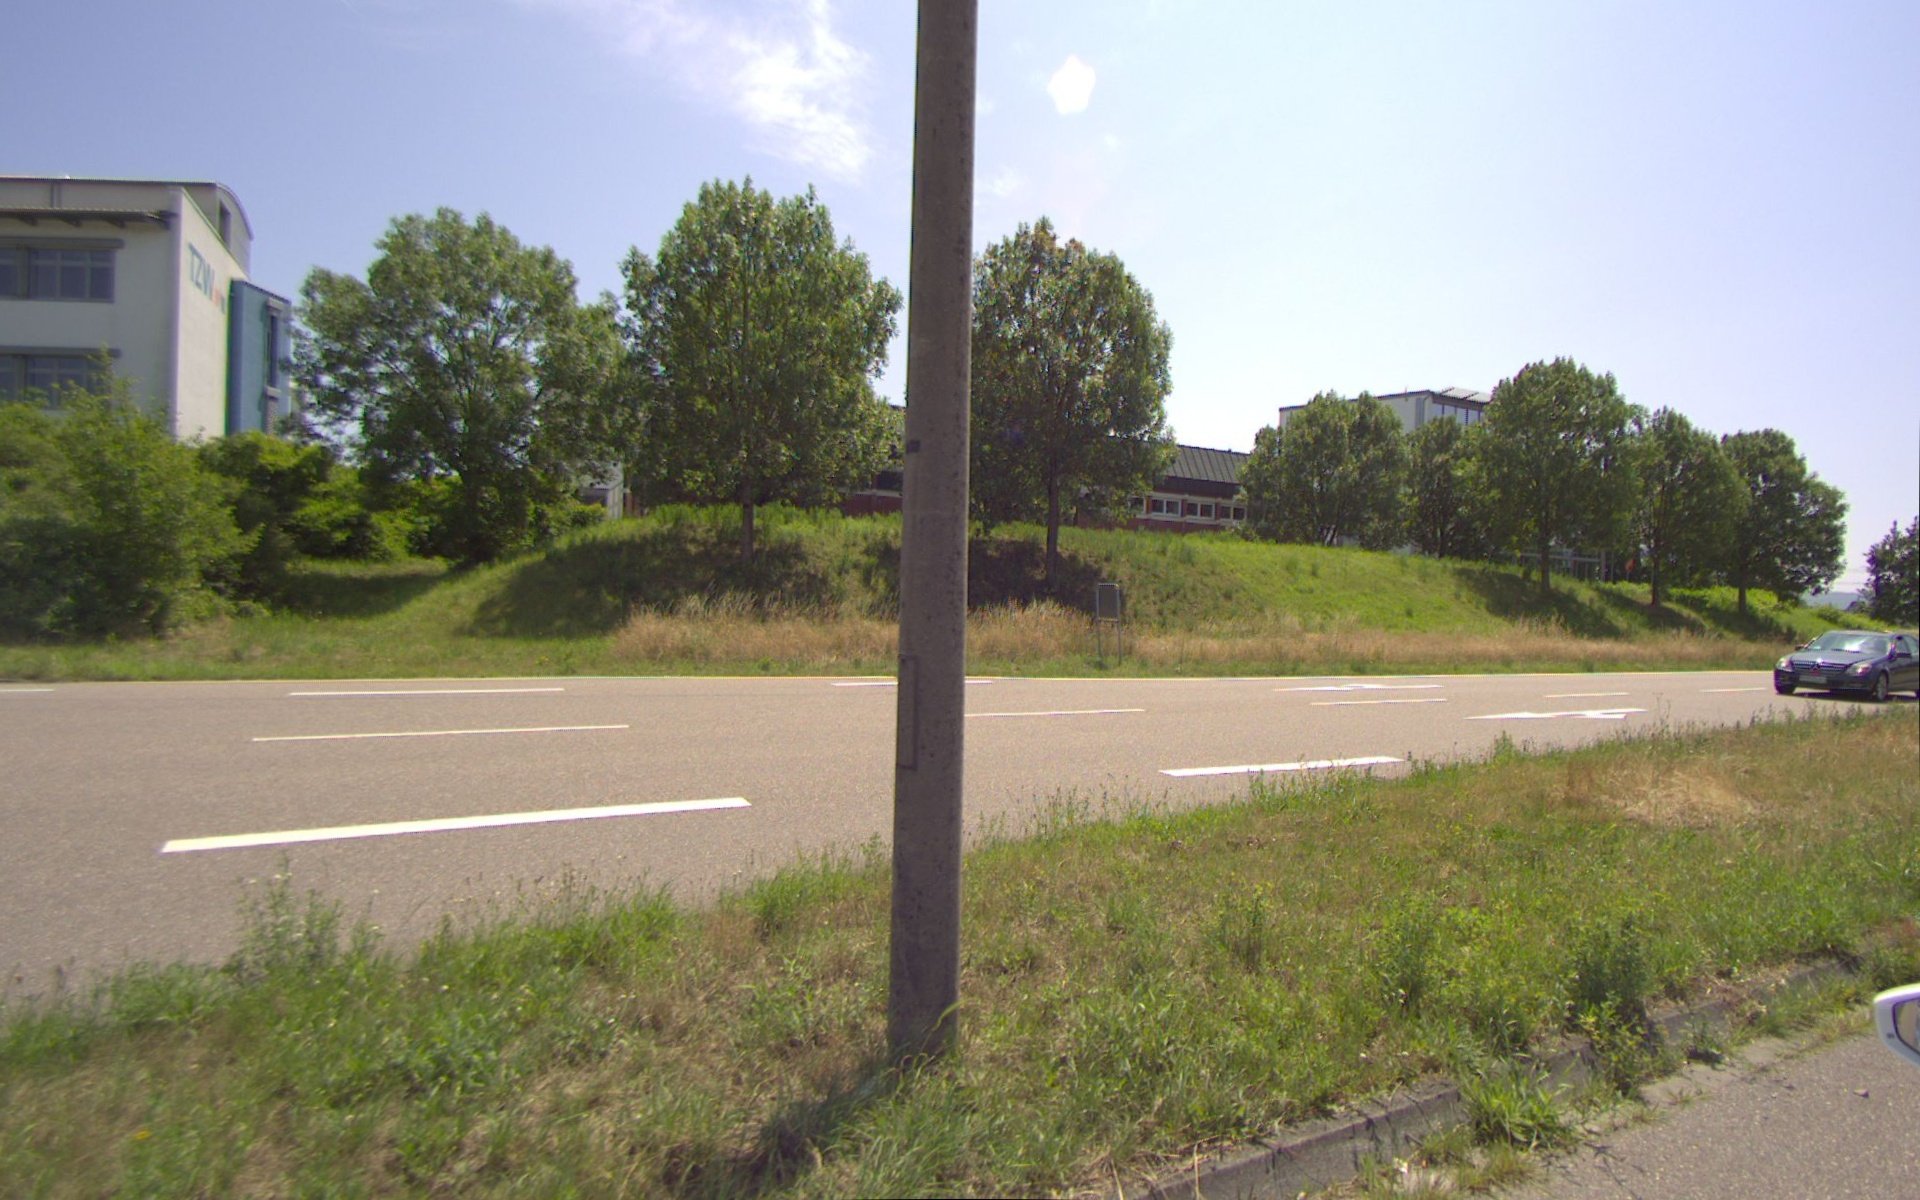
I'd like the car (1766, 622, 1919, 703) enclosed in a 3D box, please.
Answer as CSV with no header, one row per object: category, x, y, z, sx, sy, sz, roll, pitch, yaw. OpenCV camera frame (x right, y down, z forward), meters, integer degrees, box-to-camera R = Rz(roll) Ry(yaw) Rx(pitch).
car,19.447,1.315,21.856,3.955,1.512,1.683,2,2,-32
